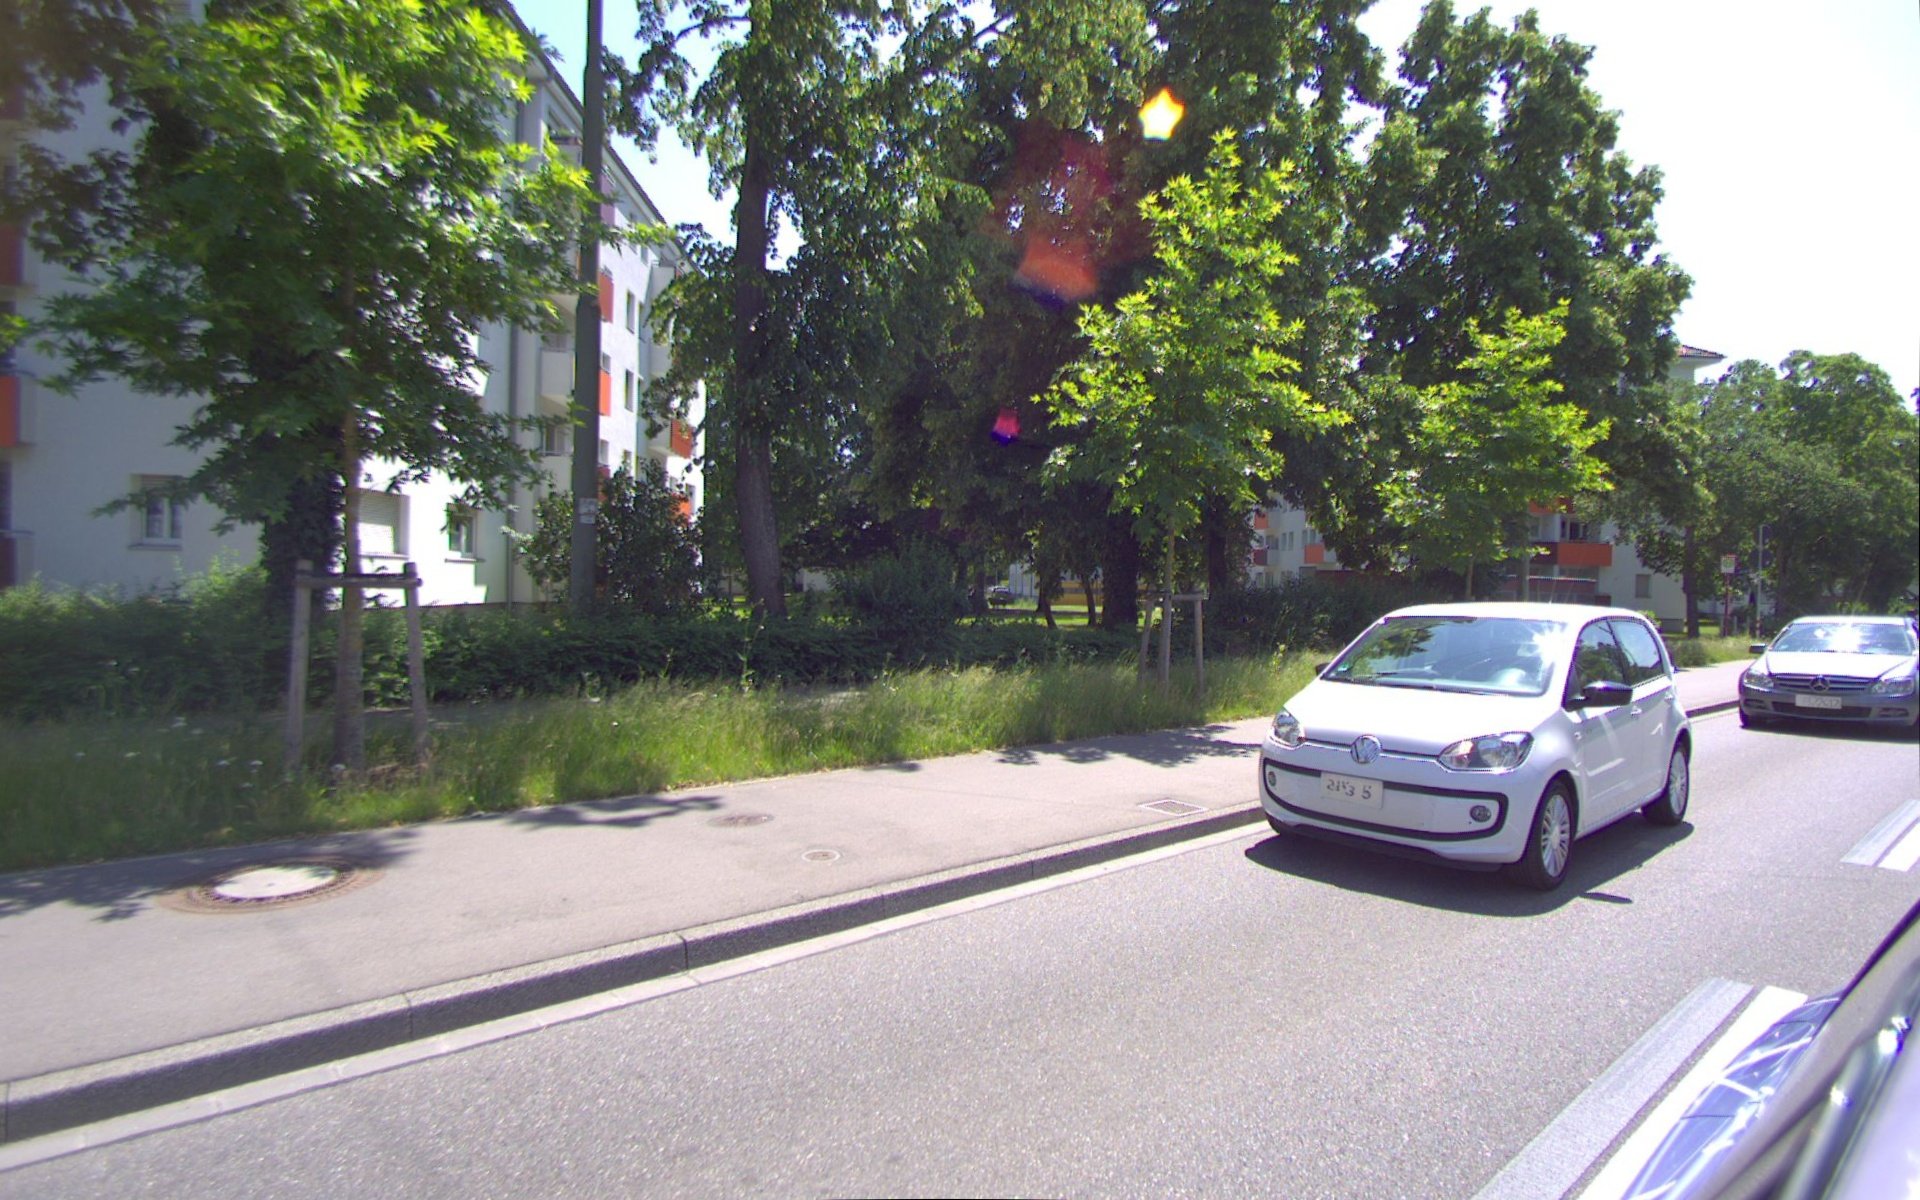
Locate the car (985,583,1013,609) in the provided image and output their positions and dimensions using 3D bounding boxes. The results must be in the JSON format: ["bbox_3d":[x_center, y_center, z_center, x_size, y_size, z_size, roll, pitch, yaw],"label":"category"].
[{"bbox_3d":[2.734,-0.284,71.069,1.842,1.746,3.924,1,1,2],"label":"car"}]

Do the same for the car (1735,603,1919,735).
[{"bbox_3d":[11.718,0.806,13.204,3.903,1.478,1.901,1,-1,-42],"label":"car"}]

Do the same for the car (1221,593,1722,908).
[{"bbox_3d":[3.502,0.703,6.615,3.788,1.468,1.661,0,0,-42],"label":"car"}]

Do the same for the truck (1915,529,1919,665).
[{"bbox_3d":[27.221,-0.050,26.514,8.164,3.319,2.293,0,0,-40],"label":"truck"}]
